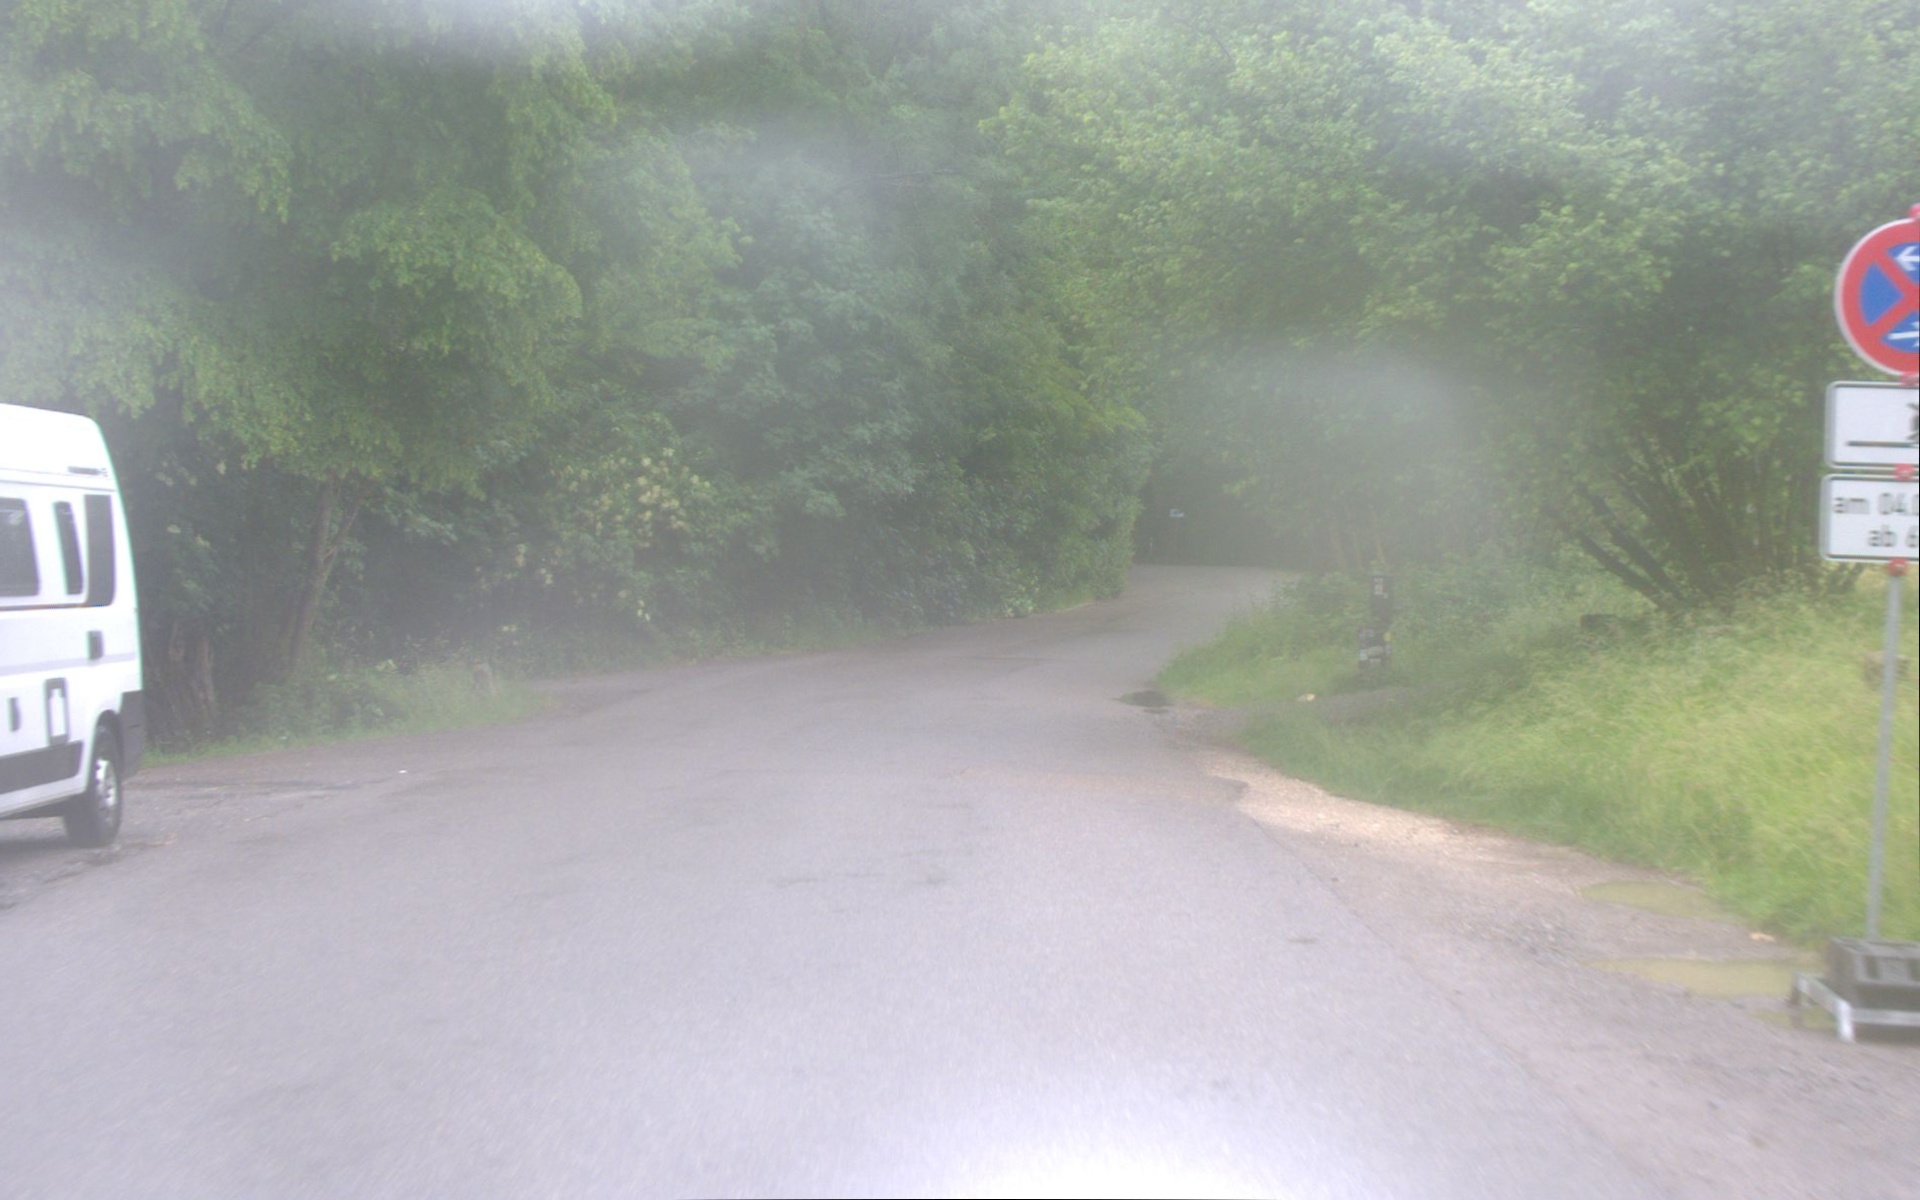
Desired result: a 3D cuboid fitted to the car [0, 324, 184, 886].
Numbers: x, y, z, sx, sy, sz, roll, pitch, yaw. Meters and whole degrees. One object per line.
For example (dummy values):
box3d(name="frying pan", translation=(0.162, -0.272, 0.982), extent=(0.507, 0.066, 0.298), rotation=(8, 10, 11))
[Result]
box3d(name="car", translation=(-5.775, 0.039, 17.386), extent=(2.272, 2.687, 6.050), rotation=(-4, 2, -1))
